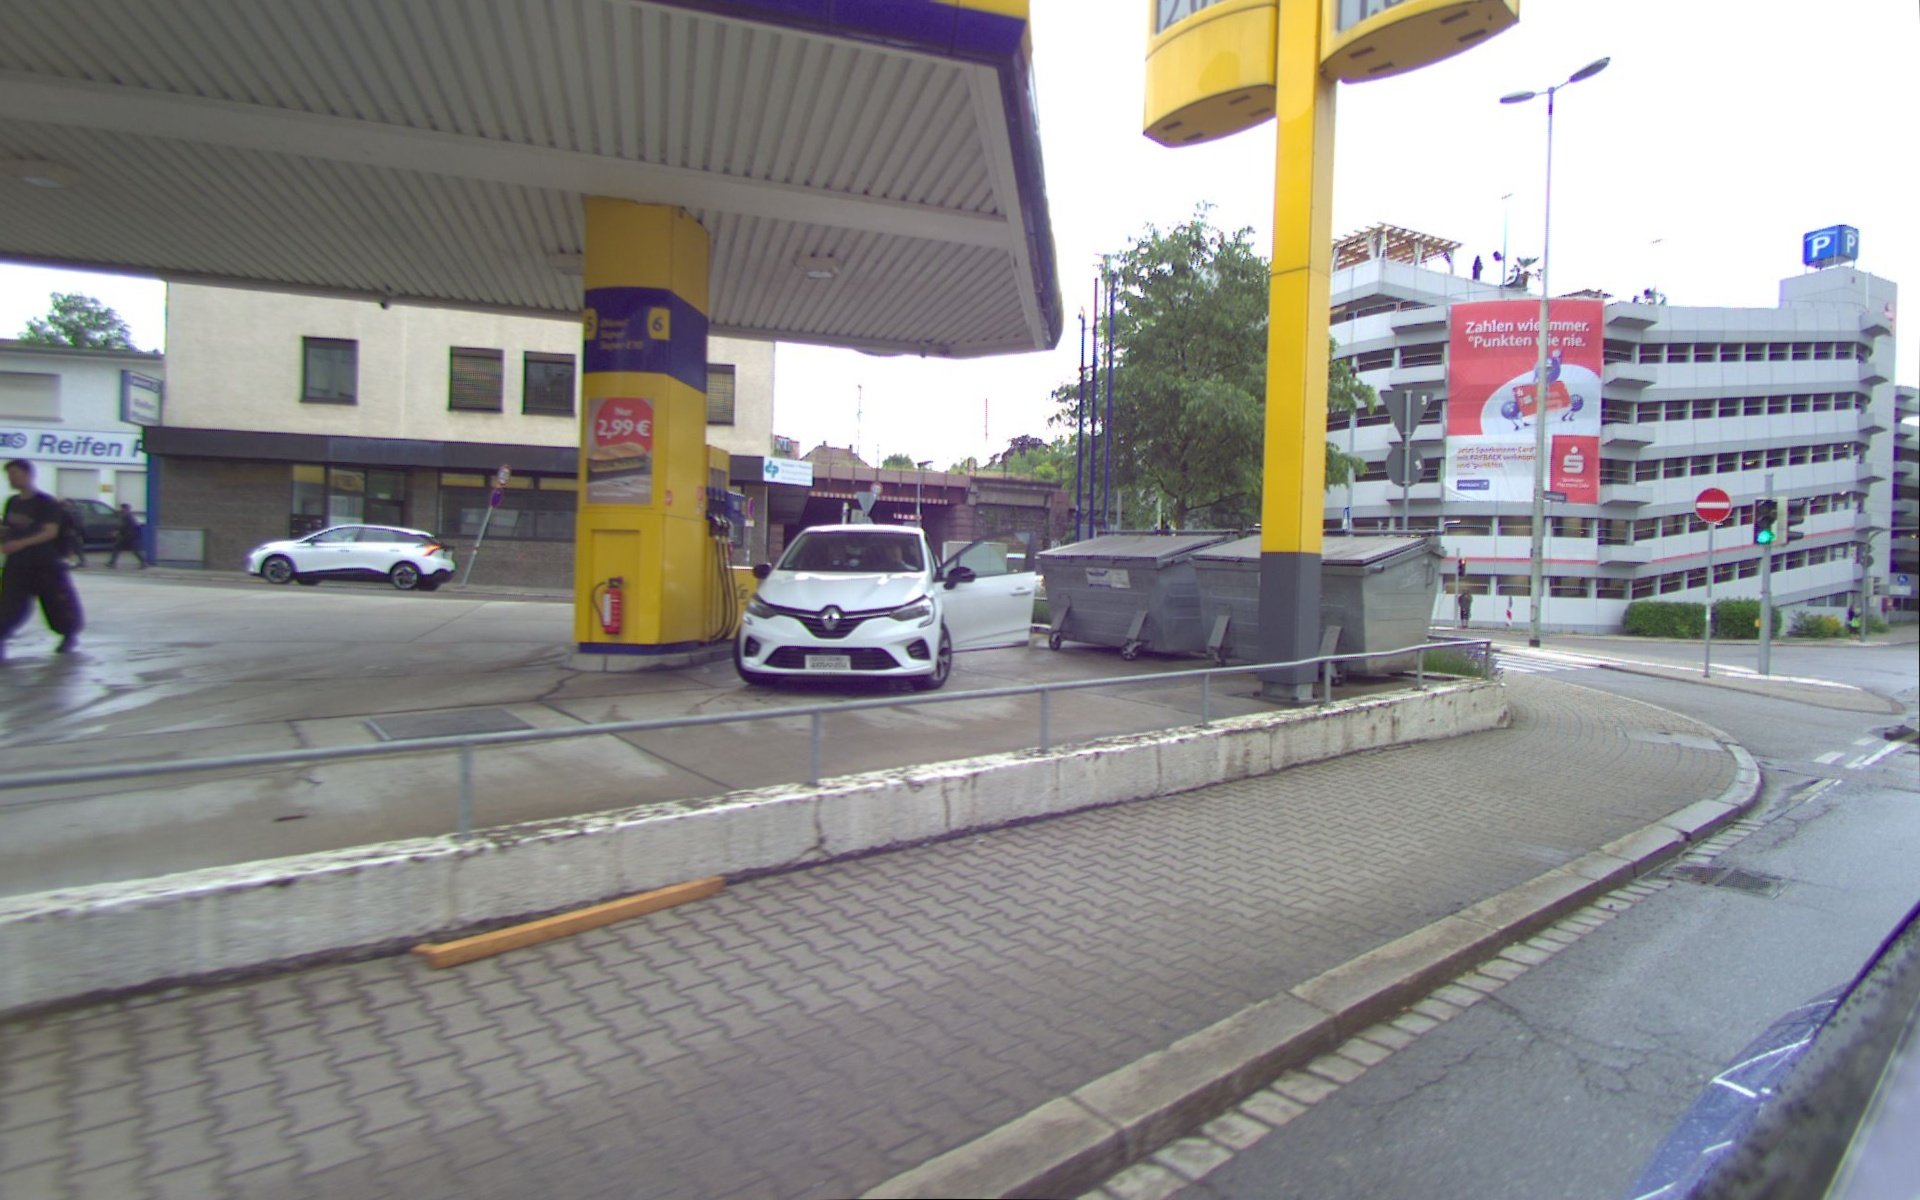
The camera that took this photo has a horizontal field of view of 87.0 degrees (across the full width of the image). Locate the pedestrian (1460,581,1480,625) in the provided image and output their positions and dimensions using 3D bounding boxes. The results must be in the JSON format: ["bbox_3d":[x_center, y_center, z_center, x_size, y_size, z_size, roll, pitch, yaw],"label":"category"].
[{"bbox_3d":[22.598,0.128,44.861,0.536,1.913,0.506,4,2,10],"label":"pedestrian"}]

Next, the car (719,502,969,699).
[{"bbox_3d":[-0.891,-0.106,9.843,1.714,1.459,3.998,2,3,3],"label":"car"}]

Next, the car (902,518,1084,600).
[{"bbox_3d":[0.814,-1.013,26.564,4.308,1.748,2.004,4,-1,-12],"label":"car"}]

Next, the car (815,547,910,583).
[{"bbox_3d":[-4.893,-1.669,50.111,1.968,1.652,5.024,0,0,-45],"label":"car"}]

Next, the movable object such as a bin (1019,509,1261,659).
[{"bbox_3d":[2.095,-0.231,11.982,1.741,1.574,2.161,0,3,-39],"label":"movable object such as a bin"}]

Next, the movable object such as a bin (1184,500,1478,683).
[{"bbox_3d":[3.695,-0.123,10.195,1.741,1.594,2.161,0,2,-39],"label":"movable object such as a bin"}]

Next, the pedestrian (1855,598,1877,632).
[{"bbox_3d":[45.565,0.763,50.909,0.508,1.679,0.586,0,4,-23],"label":"pedestrian"}]

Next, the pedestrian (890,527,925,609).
[{"bbox_3d":[-0.998,-0.601,19.293,0.565,1.534,0.478,0,0,10],"label":"pedestrian"}]

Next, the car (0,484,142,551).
[{"bbox_3d":[-26.689,-2.392,30.152,1.958,1.661,4.007,0,0,-11],"label":"car"}]

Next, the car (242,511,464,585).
[{"bbox_3d":[-14.231,-1.186,23.977,4.121,1.497,1.809,1,-1,-13],"label":"car"}]

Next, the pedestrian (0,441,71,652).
[{"bbox_3d":[-8.411,-0.486,8.943,0.648,1.792,0.529,3,3,8],"label":"pedestrian"}]

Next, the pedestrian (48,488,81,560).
[{"bbox_3d":[-22.345,-1.900,25.258,0.512,1.770,0.331,0,0,2],"label":"pedestrian"}]

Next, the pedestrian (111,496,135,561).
[{"bbox_3d":[-21.578,-1.841,26.090,0.321,1.653,0.331,0,0,2],"label":"pedestrian"}]
